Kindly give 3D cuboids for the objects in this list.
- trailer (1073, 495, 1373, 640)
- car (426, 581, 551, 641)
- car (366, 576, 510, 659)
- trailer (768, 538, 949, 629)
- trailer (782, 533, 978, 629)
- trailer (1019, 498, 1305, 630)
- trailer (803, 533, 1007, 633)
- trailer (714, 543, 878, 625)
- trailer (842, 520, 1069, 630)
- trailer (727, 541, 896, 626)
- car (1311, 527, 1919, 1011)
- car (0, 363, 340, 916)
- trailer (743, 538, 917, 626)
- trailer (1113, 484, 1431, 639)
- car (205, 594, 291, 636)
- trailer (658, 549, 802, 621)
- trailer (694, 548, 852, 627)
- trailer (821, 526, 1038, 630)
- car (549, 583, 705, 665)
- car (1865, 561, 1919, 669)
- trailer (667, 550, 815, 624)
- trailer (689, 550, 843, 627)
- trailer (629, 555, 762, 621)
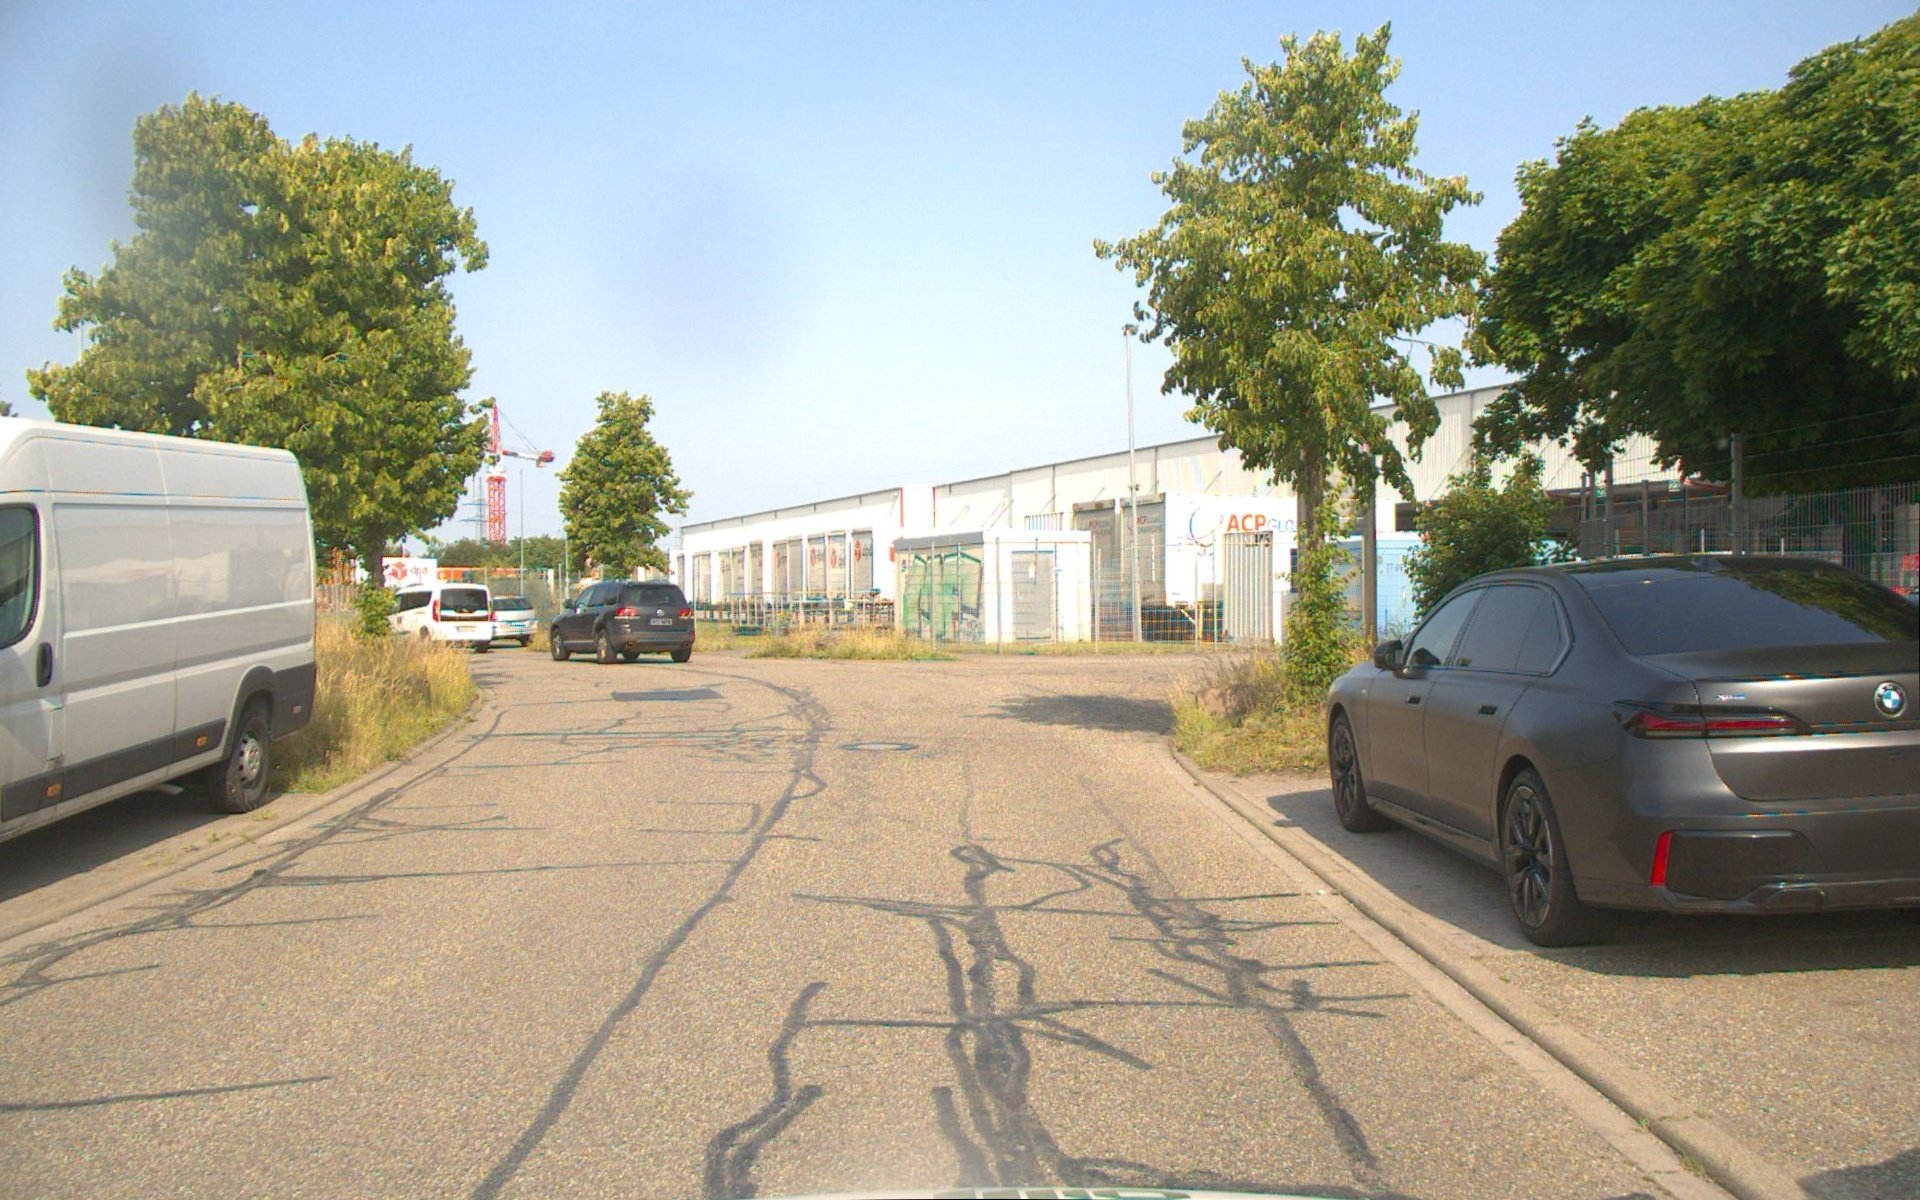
[{"bbox_3d":[7.701,-0.993,48.183,8.421,3.961,2.756,-2,0,-23],"label":"trailer"},{"bbox_3d":[-14.223,0.325,49.745,1.791,1.654,4.378,-3,2,-43],"label":"car"},{"bbox_3d":[-14.390,0.482,45.455,2.110,2.147,4.554,-1,0,-41],"label":"car"},{"bbox_3d":[-4.692,-0.743,76.719,7.930,3.961,2.754,1,0,-25],"label":"trailer"},{"bbox_3d":[-3.490,-0.790,72.945,8.201,3.961,2.754,1,0,-25],"label":"trailer"},{"bbox_3d":[6.286,-1.031,51.024,8.619,3.827,2.769,0,-1,-25],"label":"trailer"},{"bbox_3d":[-2.288,-0.692,70.152,8.201,3.961,2.754,1,0,-25],"label":"trailer"},{"bbox_3d":[-8.392,-0.778,84.861,7.860,3.961,2.754,1,0,-25],"label":"trailer"},{"bbox_3d":[-0.127,-0.920,64.391,8.426,3.961,2.754,1,0,-25],"label":"trailer"},{"bbox_3d":[-7.332,-0.786,82.059,7.860,3.961,2.754,1,0,-25],"label":"trailer"},{"bbox_3d":[3.251,0.557,8.202,1.842,1.601,5.118,-3,0,-1],"label":"car"},{"bbox_3d":[-5.717,0.153,9.662,2.060,2.640,6.499,2,0,-4],"label":"car"},{"bbox_3d":[-6.205,-0.814,79.279,7.860,3.961,2.754,1,0,-25],"label":"trailer"},{"bbox_3d":[8.623,-1.003,45.522,8.418,3.962,2.756,-1,-2,-23],"label":"trailer"},{"bbox_3d":[-27.834,0.576,64.629,3.937,1.541,1.708,-1,2,45],"label":"car"},{"bbox_3d":[-13.464,-0.838,96.805,7.860,3.961,2.754,1,0,-25],"label":"trailer"},{"bbox_3d":[-9.896,-0.645,87.705,7.860,3.961,2.754,1,0,-25],"label":"trailer"},{"bbox_3d":[-1.192,-0.846,67.324,8.426,3.961,2.754,1,0,-25],"label":"trailer"},{"bbox_3d":[-7.114,0.501,35.051,1.864,1.614,4.065,-1,0,-34],"label":"car"},{"bbox_3d":[16.751,0.201,26.352,4.196,1.654,1.864,-1,-3,-23],"label":"car"},{"bbox_3d":[-12.416,-0.684,94.021,7.860,3.961,2.754,1,0,-25],"label":"trailer"},{"bbox_3d":[-10.624,-0.608,90.736,7.860,3.961,2.754,1,0,-25],"label":"trailer"},{"bbox_3d":[-16.796,-0.712,105.097,7.860,3.961,2.721,1,0,-25],"label":"trailer"}]
